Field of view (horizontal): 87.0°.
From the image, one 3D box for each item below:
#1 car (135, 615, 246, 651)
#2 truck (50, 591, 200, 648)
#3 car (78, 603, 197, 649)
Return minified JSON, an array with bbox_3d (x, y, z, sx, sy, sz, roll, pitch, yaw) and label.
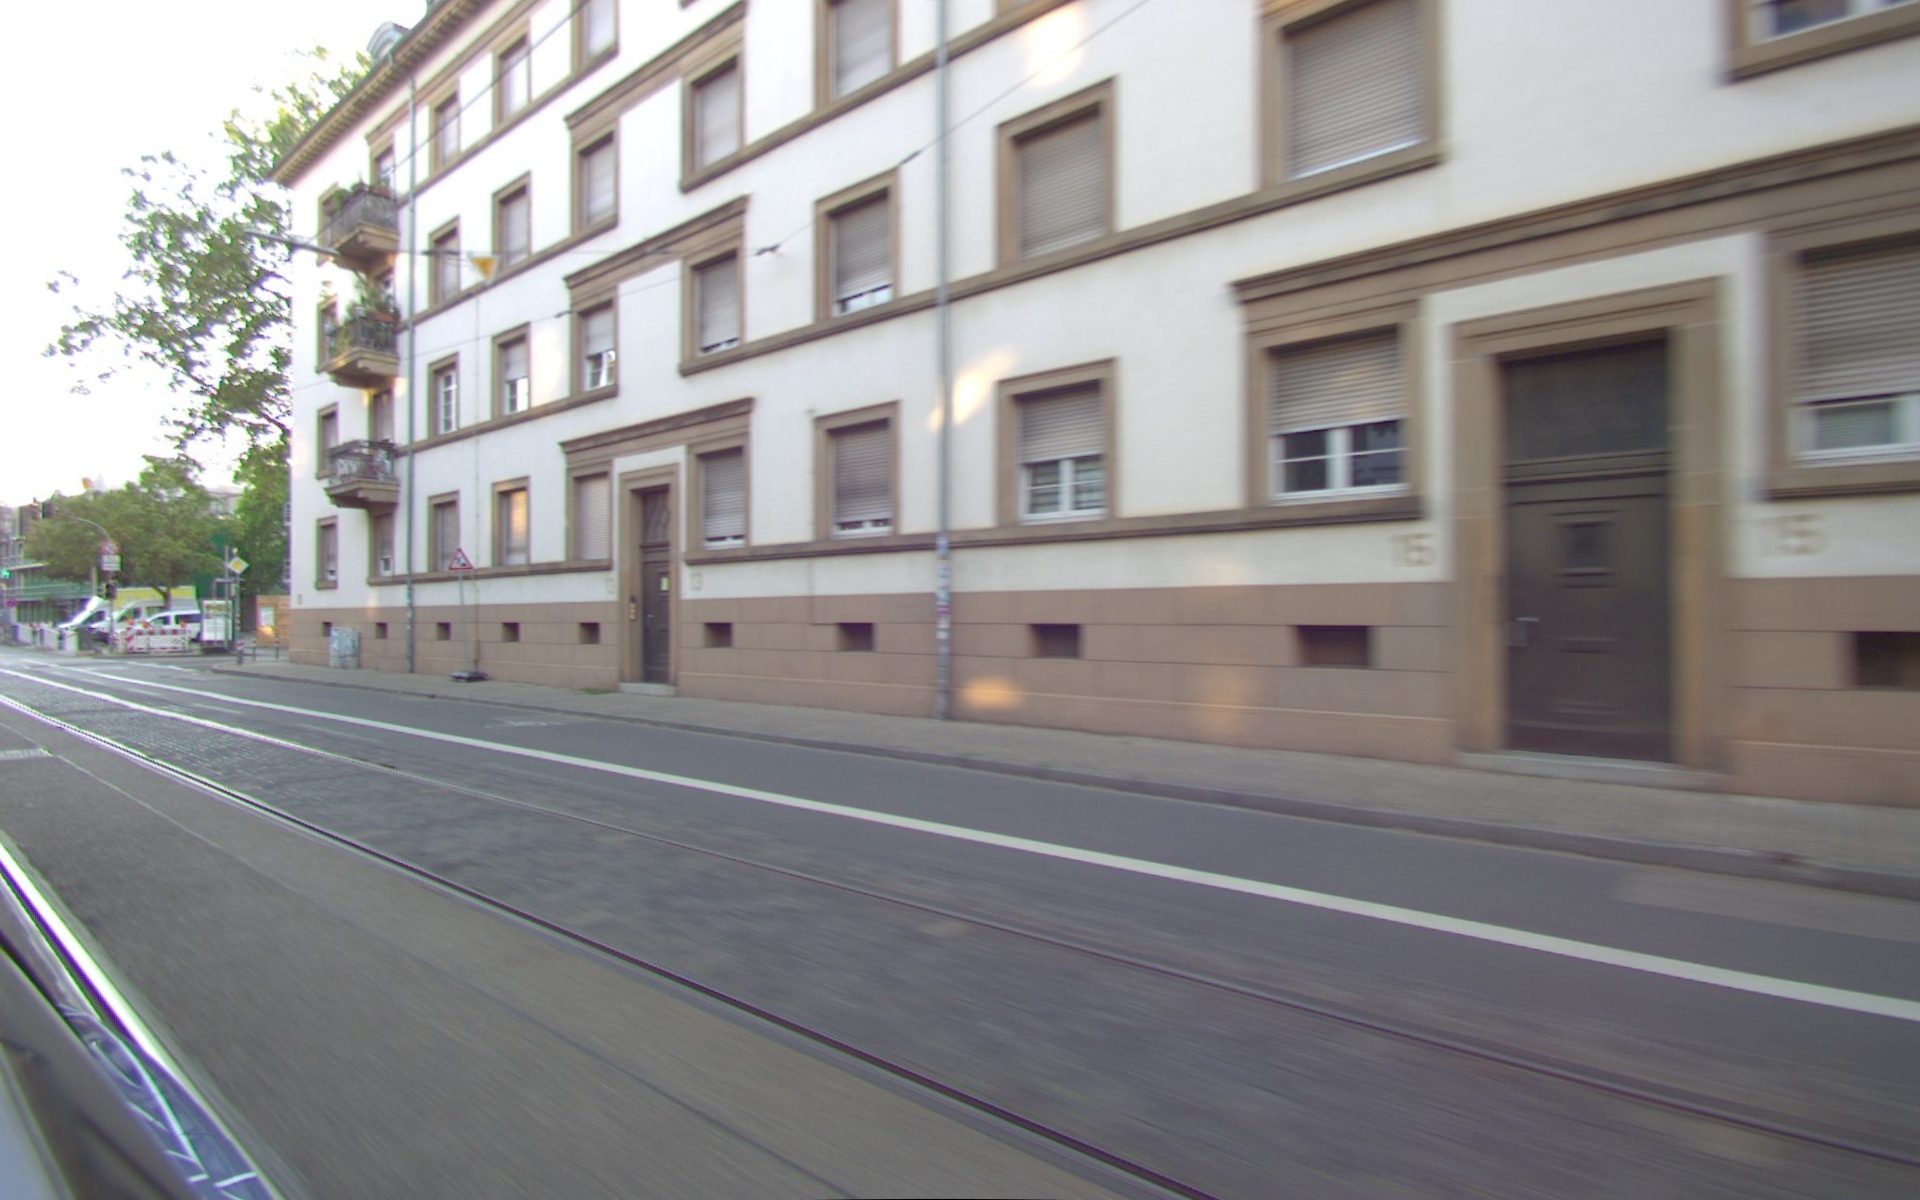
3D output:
[{"bbox_3d":[-43.822,1.874,57.700,2.015,1.888,4.781,-2,-1,42],"label":"car"},{"bbox_3d":[-53.170,1.218,64.619,2.562,3.454,6.991,-2,-1,38],"label":"truck"},{"bbox_3d":[-48.979,1.528,60.379,2.226,2.617,5.170,-2,-1,37],"label":"car"}]
